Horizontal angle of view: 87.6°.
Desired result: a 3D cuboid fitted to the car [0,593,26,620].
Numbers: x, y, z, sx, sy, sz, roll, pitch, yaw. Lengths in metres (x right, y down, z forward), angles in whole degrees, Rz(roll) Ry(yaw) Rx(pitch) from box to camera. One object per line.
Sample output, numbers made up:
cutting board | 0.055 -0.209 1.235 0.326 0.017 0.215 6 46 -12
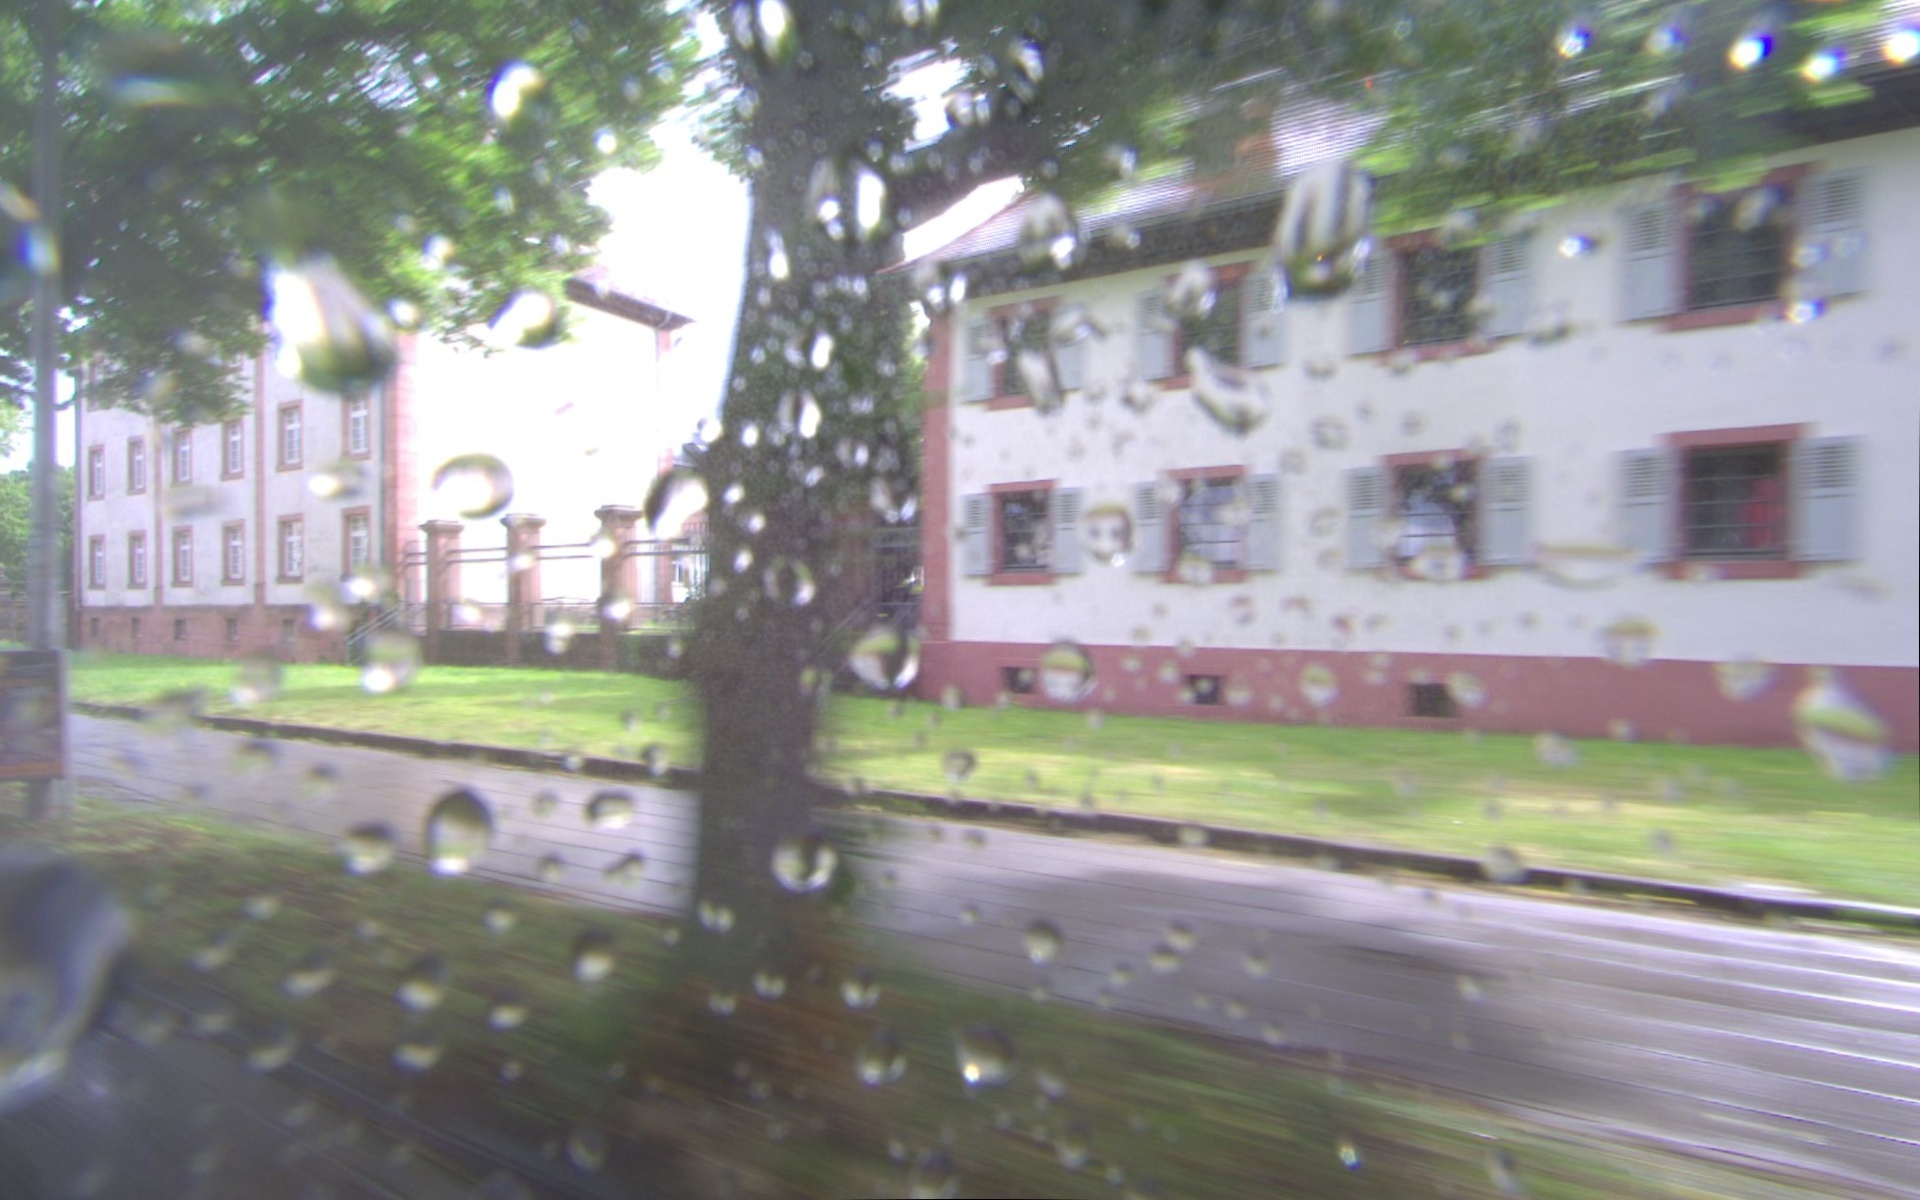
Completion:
car | -76.899 0.542 80.474 3.948 2.041 1.986 0 2 37
